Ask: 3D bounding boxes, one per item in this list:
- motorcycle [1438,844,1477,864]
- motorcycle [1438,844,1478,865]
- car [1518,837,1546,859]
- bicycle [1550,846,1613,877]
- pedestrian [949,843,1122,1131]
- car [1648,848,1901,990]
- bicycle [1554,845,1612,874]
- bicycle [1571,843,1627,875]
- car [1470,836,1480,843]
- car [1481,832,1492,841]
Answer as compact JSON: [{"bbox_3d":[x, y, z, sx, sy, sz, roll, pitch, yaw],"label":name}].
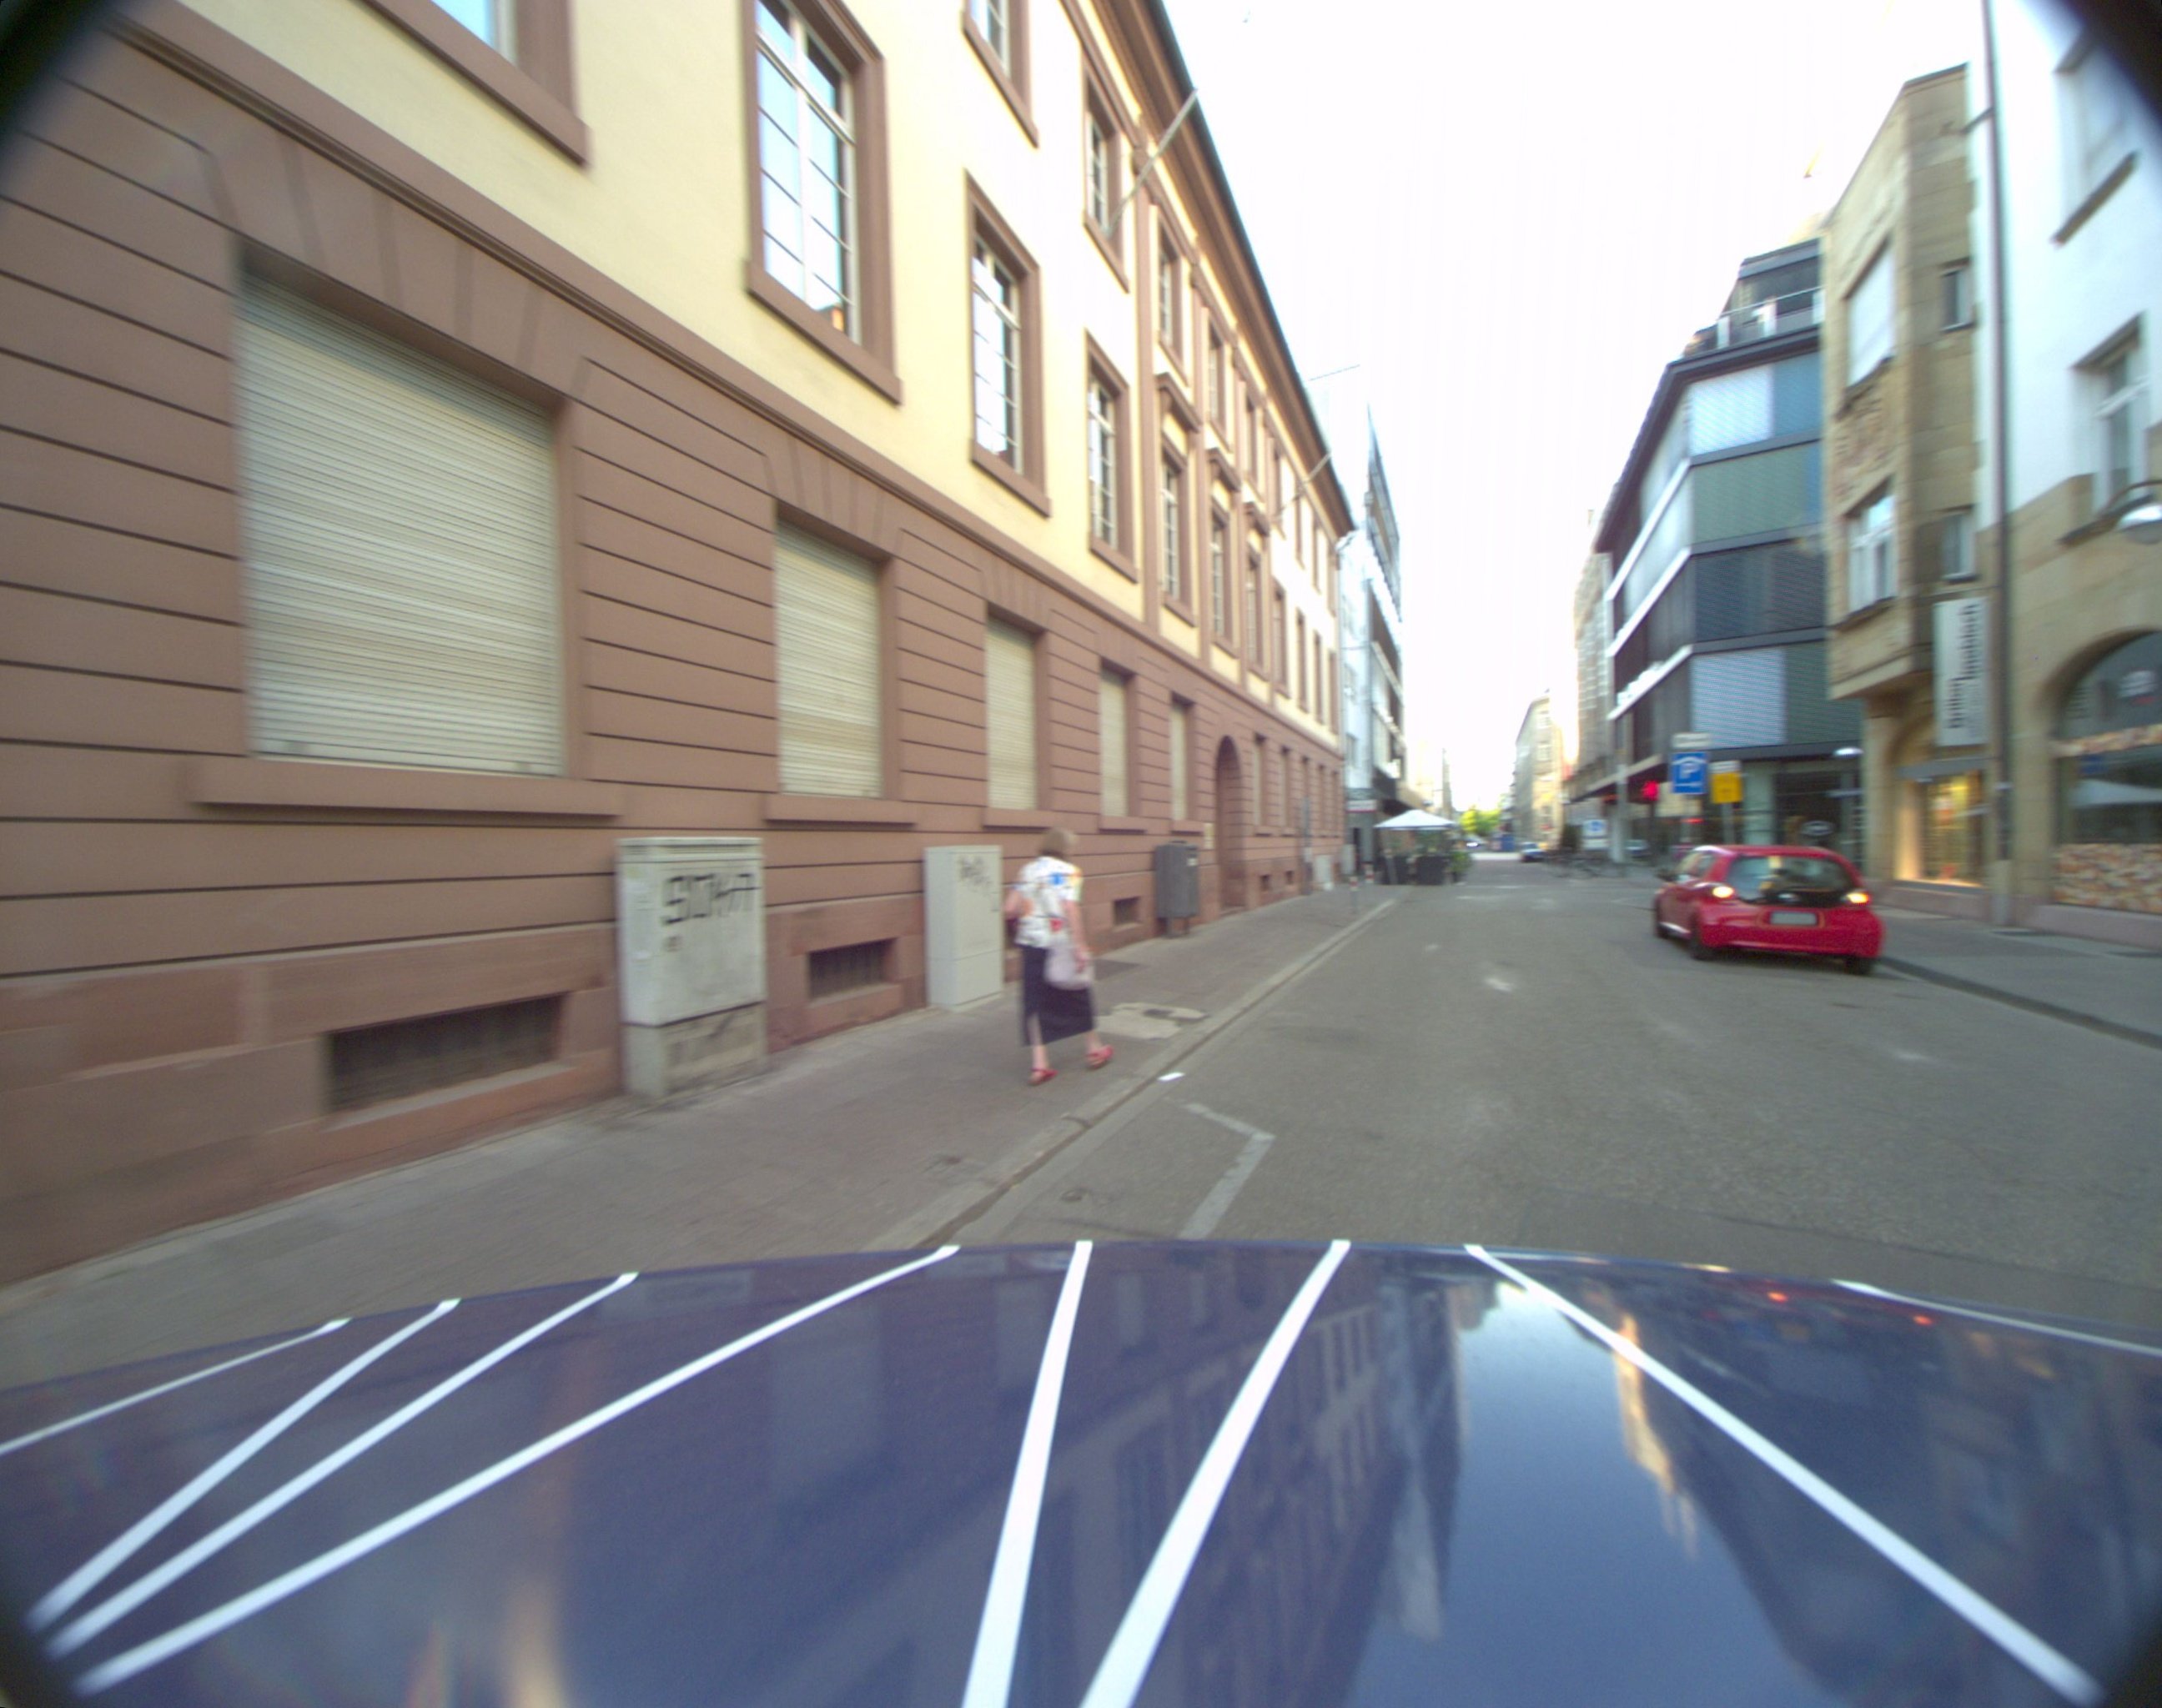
[{"bbox_3d":[23.966,-0.005,48.391,2.188,1.275,0.652,0,2,29],"label":"motorcycle"},{"bbox_3d":[23.564,0.015,47.513,2.188,1.275,0.652,0,2,29],"label":"motorcycle"},{"bbox_3d":[31.681,-0.451,53.452,1.423,1.409,3.901,-2,0,27],"label":"car"},{"bbox_3d":[19.237,0.287,29.250,1.949,1.123,0.621,-2,1,28],"label":"bicycle"},{"bbox_3d":[-0.258,0.767,4.943,0.810,1.661,0.932,0,1,19],"label":"pedestrian"},{"bbox_3d":[8.759,0.686,9.923,1.634,1.433,3.162,3,2,28],"label":"car"},{"bbox_3d":[20.781,0.229,31.510,1.949,1.123,0.527,-2,1,28],"label":"bicycle"},{"bbox_3d":[18.883,0.197,27.753,1.604,1.112,0.621,-2,1,28],"label":"bicycle"},{"bbox_3d":[65.884,-2.376,127.055,1.423,1.090,3.569,-2,0,27],"label":"car"},{"bbox_3d":[62.109,-2.729,116.445,1.423,1.292,3.569,-2,0,27],"label":"car"}]
